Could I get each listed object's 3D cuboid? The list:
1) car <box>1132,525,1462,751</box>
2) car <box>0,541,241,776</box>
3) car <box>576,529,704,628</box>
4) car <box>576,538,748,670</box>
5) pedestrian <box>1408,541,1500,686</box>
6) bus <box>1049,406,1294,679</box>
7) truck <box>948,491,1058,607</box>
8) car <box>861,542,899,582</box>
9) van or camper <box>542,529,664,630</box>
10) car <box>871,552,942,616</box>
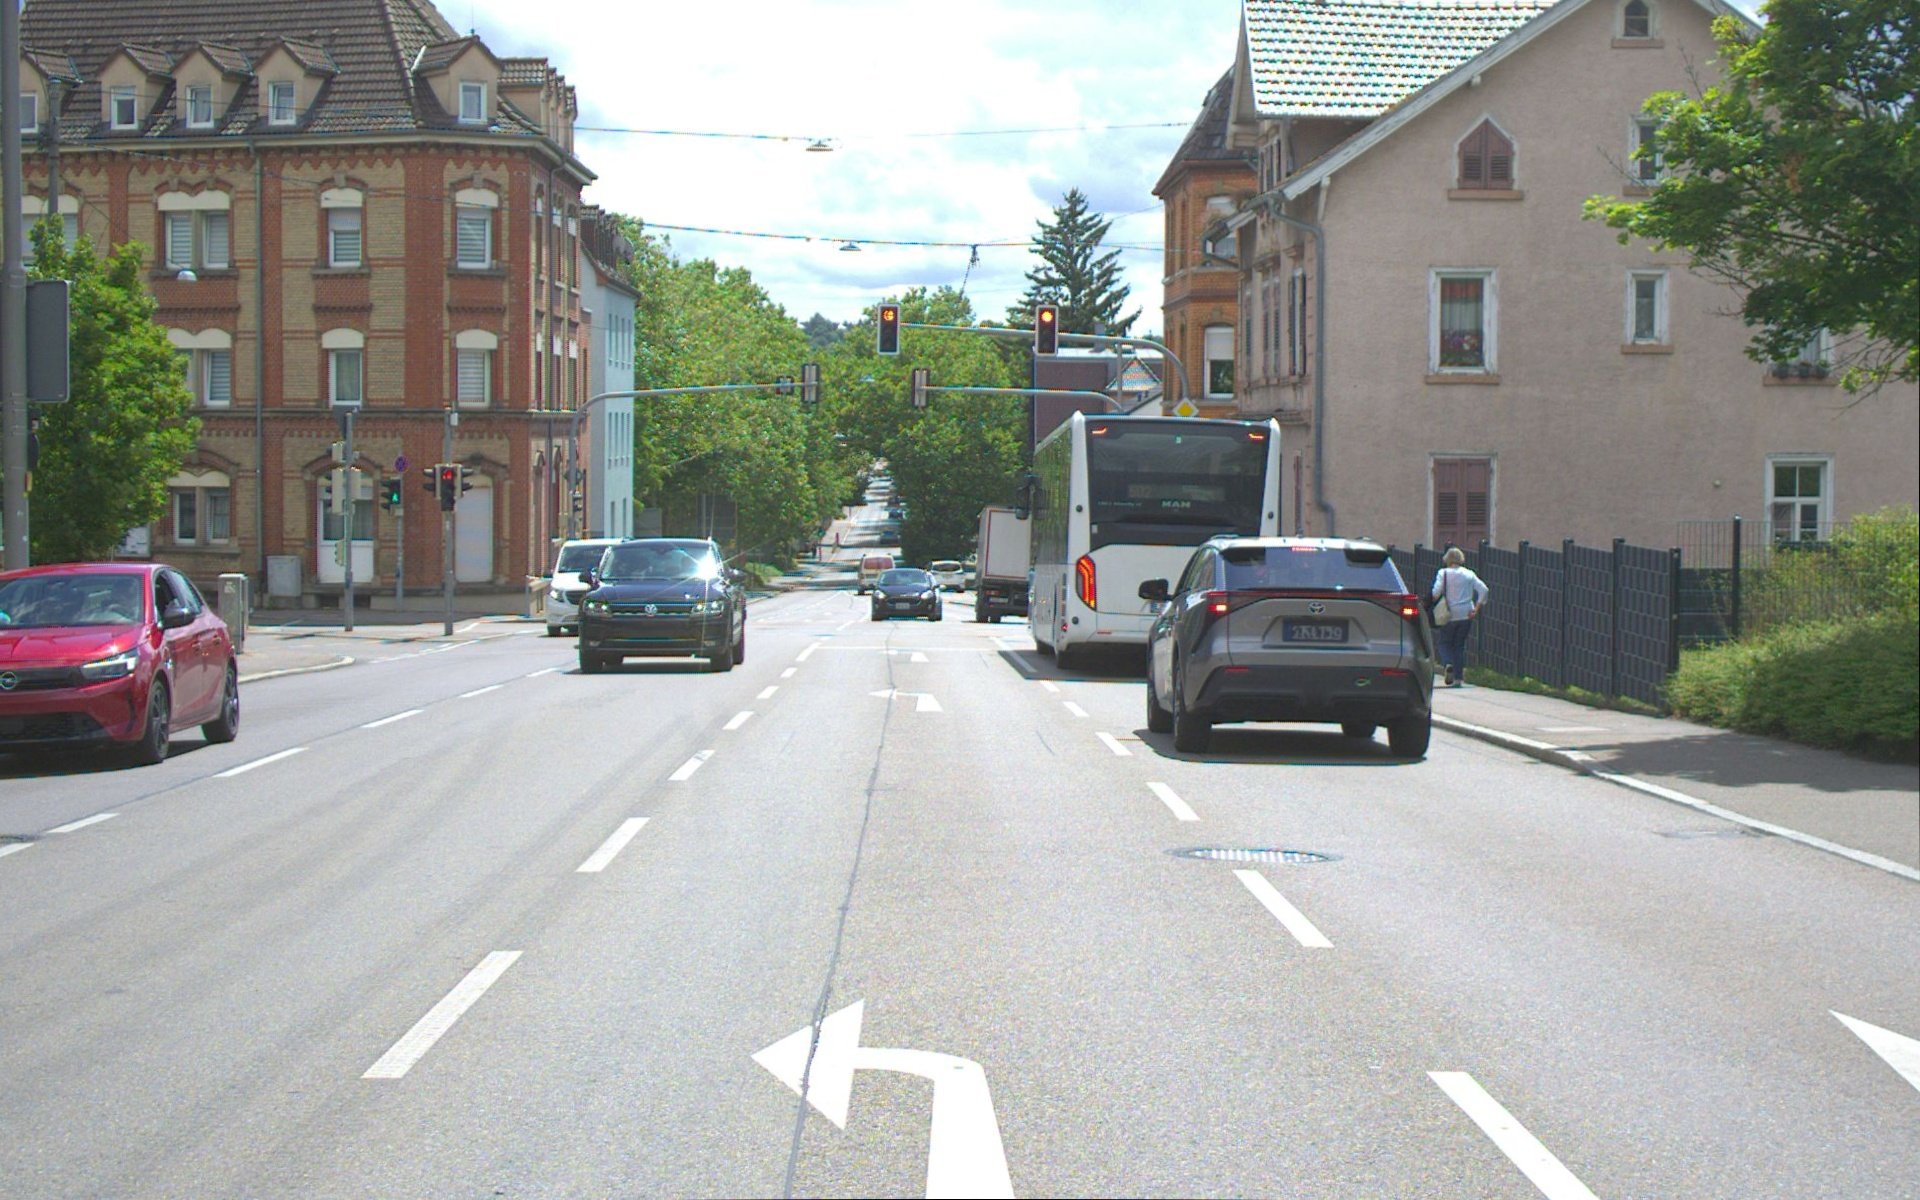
[{"bbox_3d":[2.472,0.234,26.256,1.930,1.577,4.208,0,1,-2],"label":"car"},{"bbox_3d":[-6.448,0.376,24.698,1.871,1.486,3.849,-3,2,-3],"label":"car"},{"bbox_3d":[-5.183,-0.382,56.054,1.864,1.535,4.107,0,1,-3],"label":"car"},{"bbox_3d":[-3.649,0.006,42.678,1.864,1.535,4.107,0,1,-1],"label":"car"},{"bbox_3d":[5.537,0.143,38.591,0.813,1.576,1.070,-2,1,-1],"label":"pedestrian"},{"bbox_3d":[2.669,-1.027,46.967,2.802,3.186,12.197,1,3,1],"label":"bus"},{"bbox_3d":[1.145,-1.475,97.601,2.666,3.097,9.036,-1,1,-2],"label":"truck"},{"bbox_3d":[-4.026,-1.907,172.622,1.832,1.875,4.001,0,2,-2],"label":"car"},{"bbox_3d":[-7.023,-0.432,68.048,1.970,1.908,5.129,0,1,-1],"label":"van or camper"},{"bbox_3d":[-1.463,-0.440,92.700,1.864,1.660,4.260,0,1,-1],"label":"car"}]
